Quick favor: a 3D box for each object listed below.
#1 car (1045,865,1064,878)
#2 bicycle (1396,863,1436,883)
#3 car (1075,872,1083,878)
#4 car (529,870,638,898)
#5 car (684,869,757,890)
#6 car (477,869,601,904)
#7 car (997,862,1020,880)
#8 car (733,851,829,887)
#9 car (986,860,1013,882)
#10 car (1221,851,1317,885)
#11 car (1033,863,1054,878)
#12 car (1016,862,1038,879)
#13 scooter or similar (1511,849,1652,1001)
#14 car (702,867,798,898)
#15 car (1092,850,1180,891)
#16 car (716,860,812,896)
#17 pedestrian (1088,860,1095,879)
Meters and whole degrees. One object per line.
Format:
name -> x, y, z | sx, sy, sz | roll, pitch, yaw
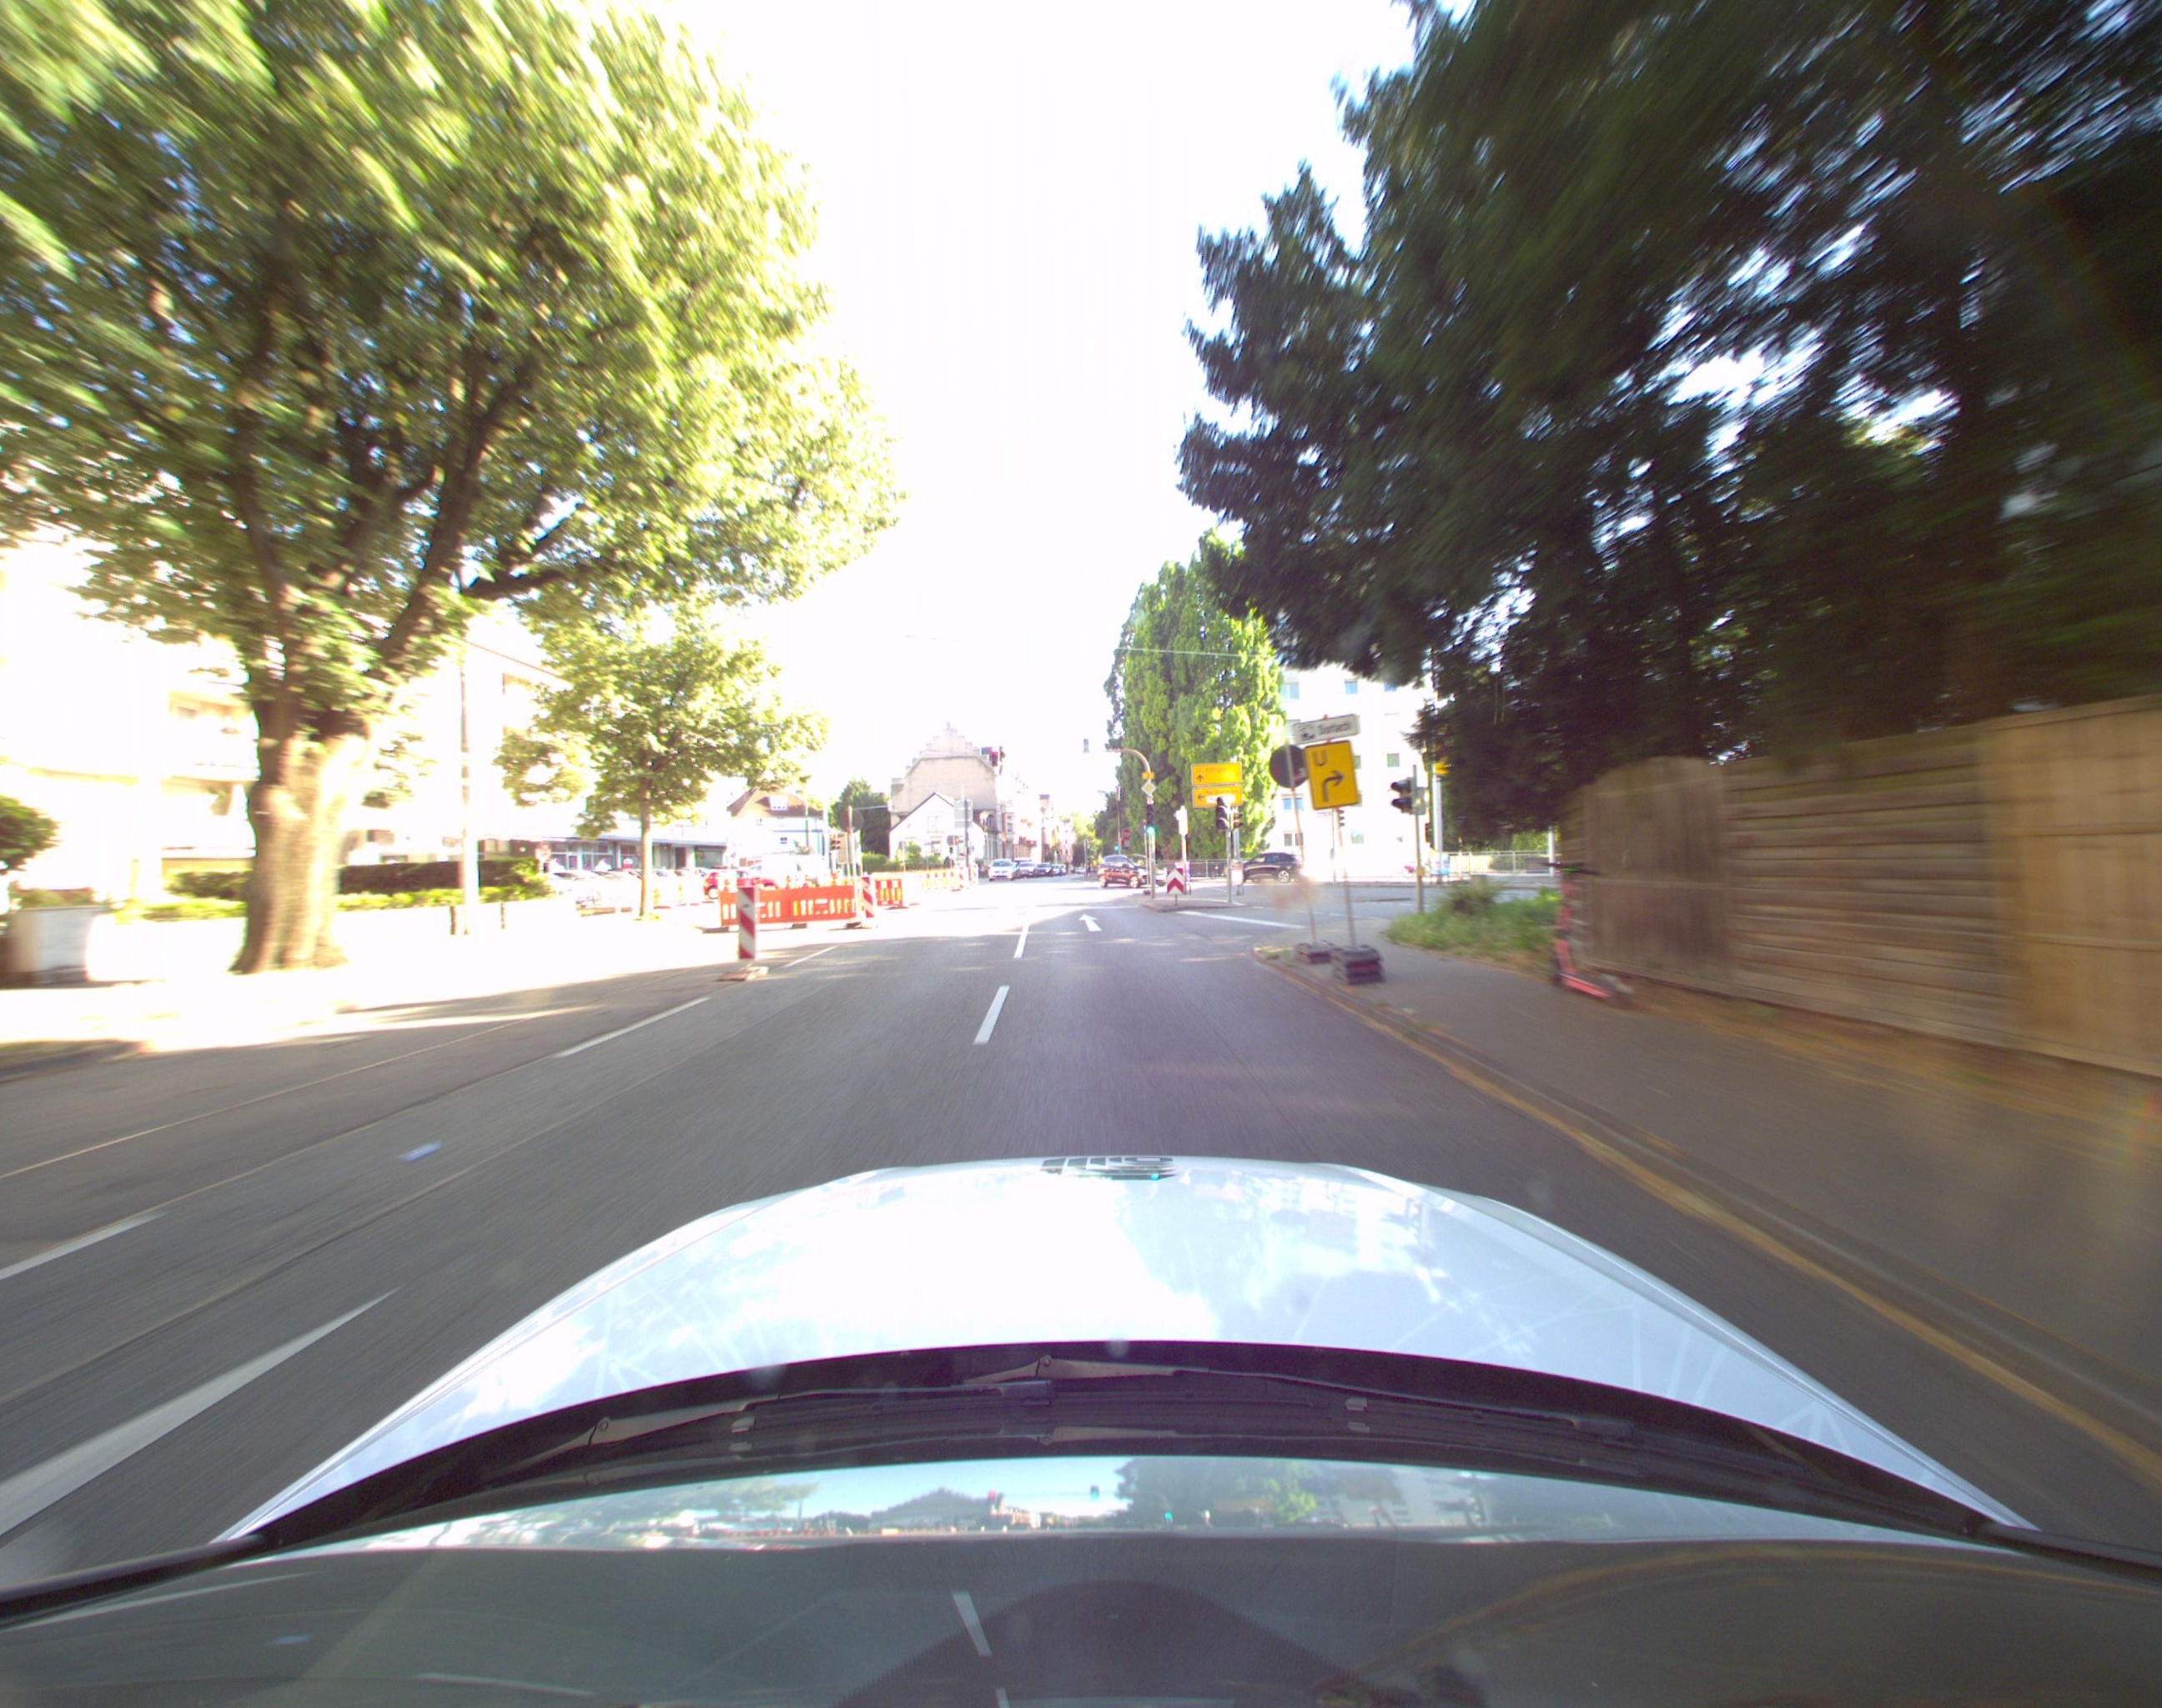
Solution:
car -> -3.499, 2.311, 107.877 | 1.943, 1.648, 4.291 | 0, 0, 6
bicycle -> 18.485, 1.032, 44.953 | 1.899, 1.068, 0.620 | 0, -1, 40
car -> -0.498, 5.397, 209.929 | 1.985, 1.491, 4.473 | -2, 0, 3
car -> -25.163, 1.500, 41.287 | 4.298, 1.399, 2.000 | 0, 0, 1
car -> -25.151, 1.787, 56.850 | 4.284, 1.399, 2.007 | 0, -1, 12
car -> -24.666, 1.472, 37.194 | 4.298, 1.510, 2.000 | 0, -1, 1
car -> -6.107, 1.427, 68.924 | 1.772, 1.480, 4.090 | 0, 0, -4
car -> -16.903, 0.840, 46.073 | 4.656, 1.965, 2.115 | 0, -1, -3
car -> -5.978, 1.213, 59.567 | 1.775, 1.543, 3.987 | 0, 0, -9
car -> 9.993, 0.788, 43.441 | 4.605, 1.670, 2.011 | -2, -4, 44
car -> -4.339, 1.899, 94.010 | 1.945, 1.648, 4.287 | 0, 0, 3
car -> -5.327, 1.577, 80.449 | 1.769, 1.648, 4.535 | 0, 0, 1
scooter or similar -> 4.389, 0.582, 7.234 | 0.436, 1.202, 1.259 | -4, -1, 3
car -> -16.435, 1.401, 40.610 | 3.984, 1.479, 1.996 | 0, -1, -5
car -> 2.663, 0.785, 40.115 | 2.009, 1.815, 4.204 | -4, 2, -36
car -> -16.743, 1.248, 43.170 | 4.297, 1.852, 2.001 | 0, -1, 2
pedestrian -> 0.918, 1.344, 71.109 | 0.600, 1.693, 0.612 | -2, -1, 2
